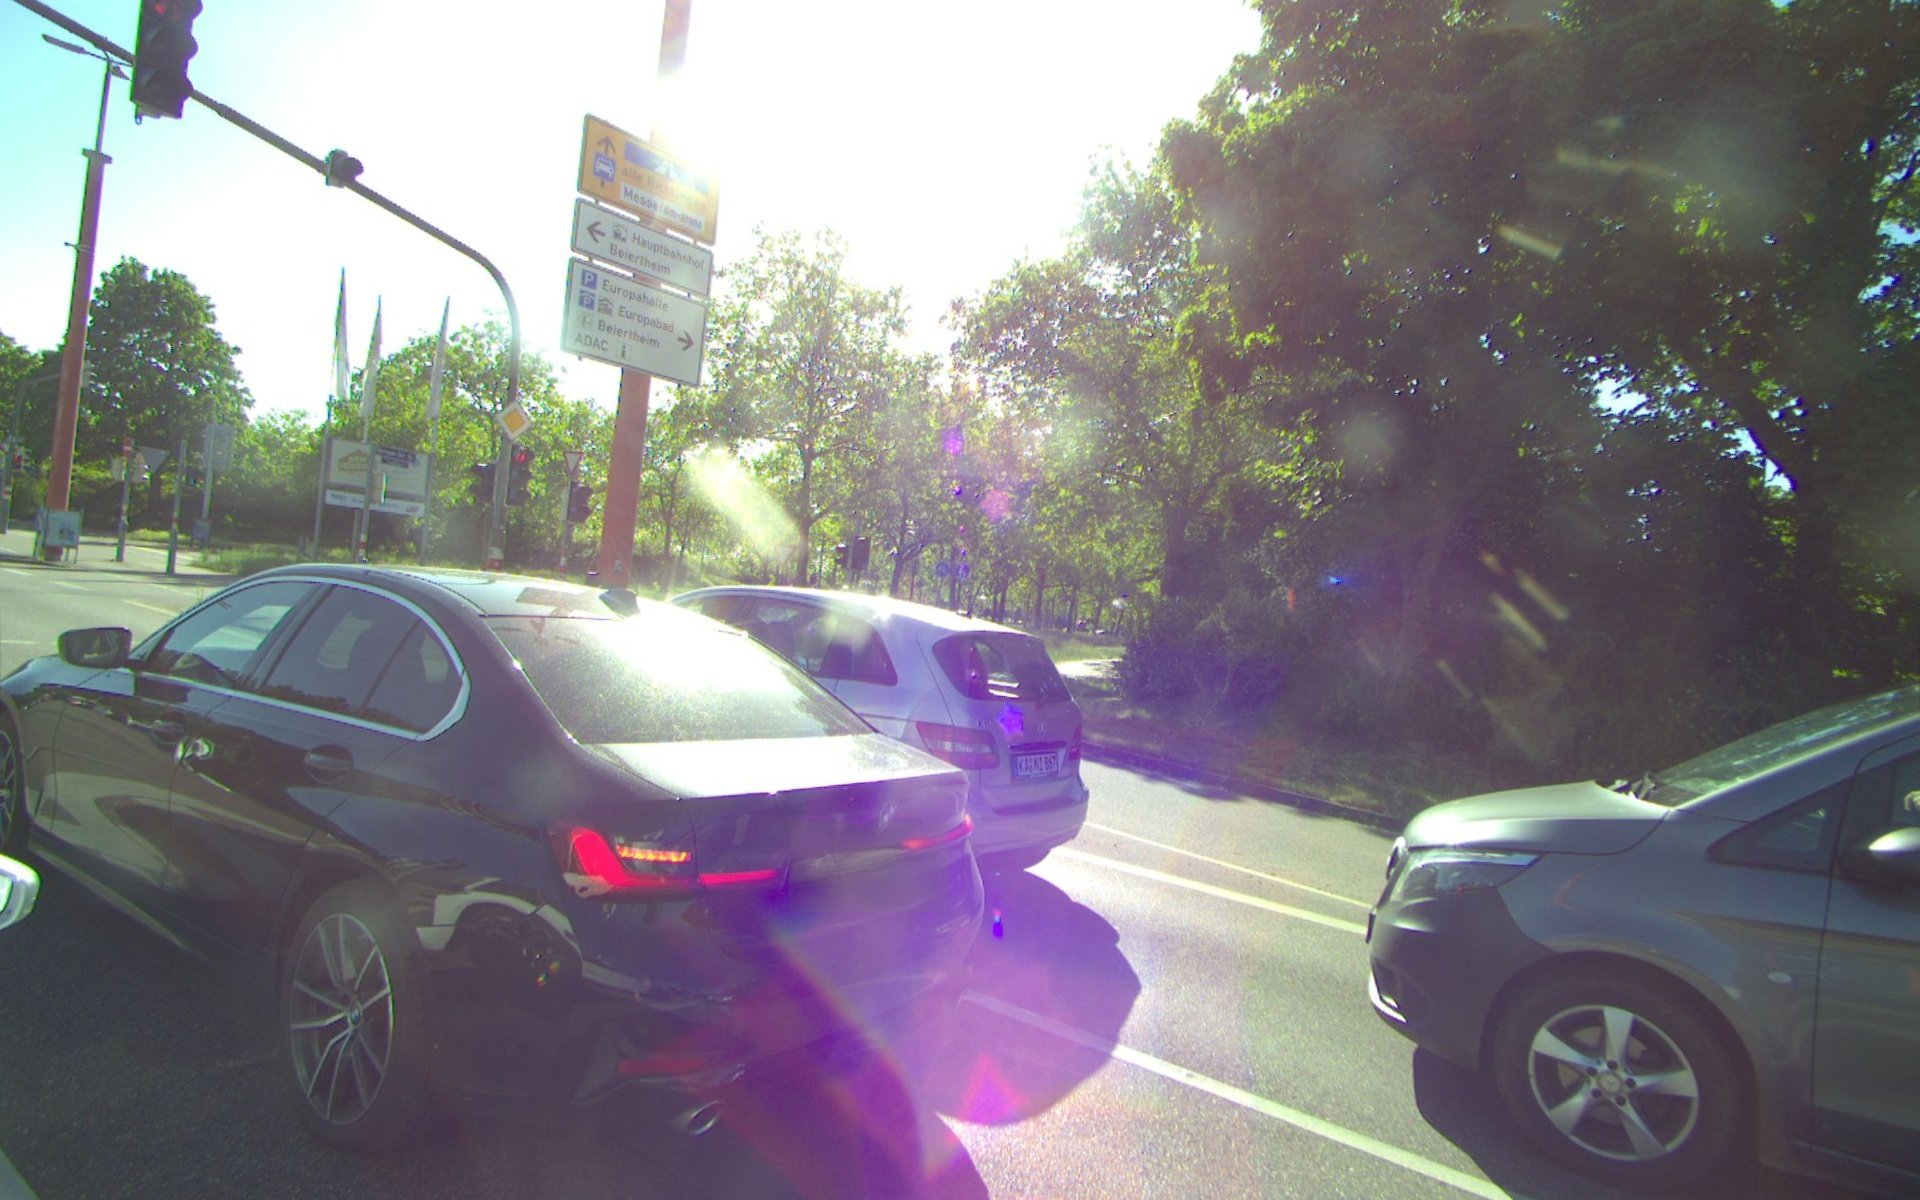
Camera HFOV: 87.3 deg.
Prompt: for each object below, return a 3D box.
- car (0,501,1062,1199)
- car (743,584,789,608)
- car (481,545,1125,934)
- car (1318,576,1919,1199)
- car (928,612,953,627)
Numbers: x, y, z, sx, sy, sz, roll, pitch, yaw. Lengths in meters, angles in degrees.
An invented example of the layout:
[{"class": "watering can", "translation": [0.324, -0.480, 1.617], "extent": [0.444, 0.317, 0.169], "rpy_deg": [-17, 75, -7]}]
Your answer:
[{"class": "car", "translation": [-1.967, 0.576, 3.790], "extent": [4.226, 1.458, 1.766], "rpy_deg": [6, -2, 34]}, {"class": "car", "translation": [-18.403, -0.377, 95.636], "extent": [1.741, 1.654, 4.292], "rpy_deg": [6, -2, 32]}, {"class": "car", "translation": [-1.105, 0.693, 6.526], "extent": [3.784, 1.626, 1.719], "rpy_deg": [6, -2, 32]}, {"class": "car", "translation": [3.998, 1.152, 3.098], "extent": [5.021, 1.875, 1.806], "rpy_deg": [7, 0, 34]}, {"class": "car", "translation": [-2.682, 2.740, 141.364], "extent": [1.737, 1.655, 4.297], "rpy_deg": [7, -1, 23]}]
